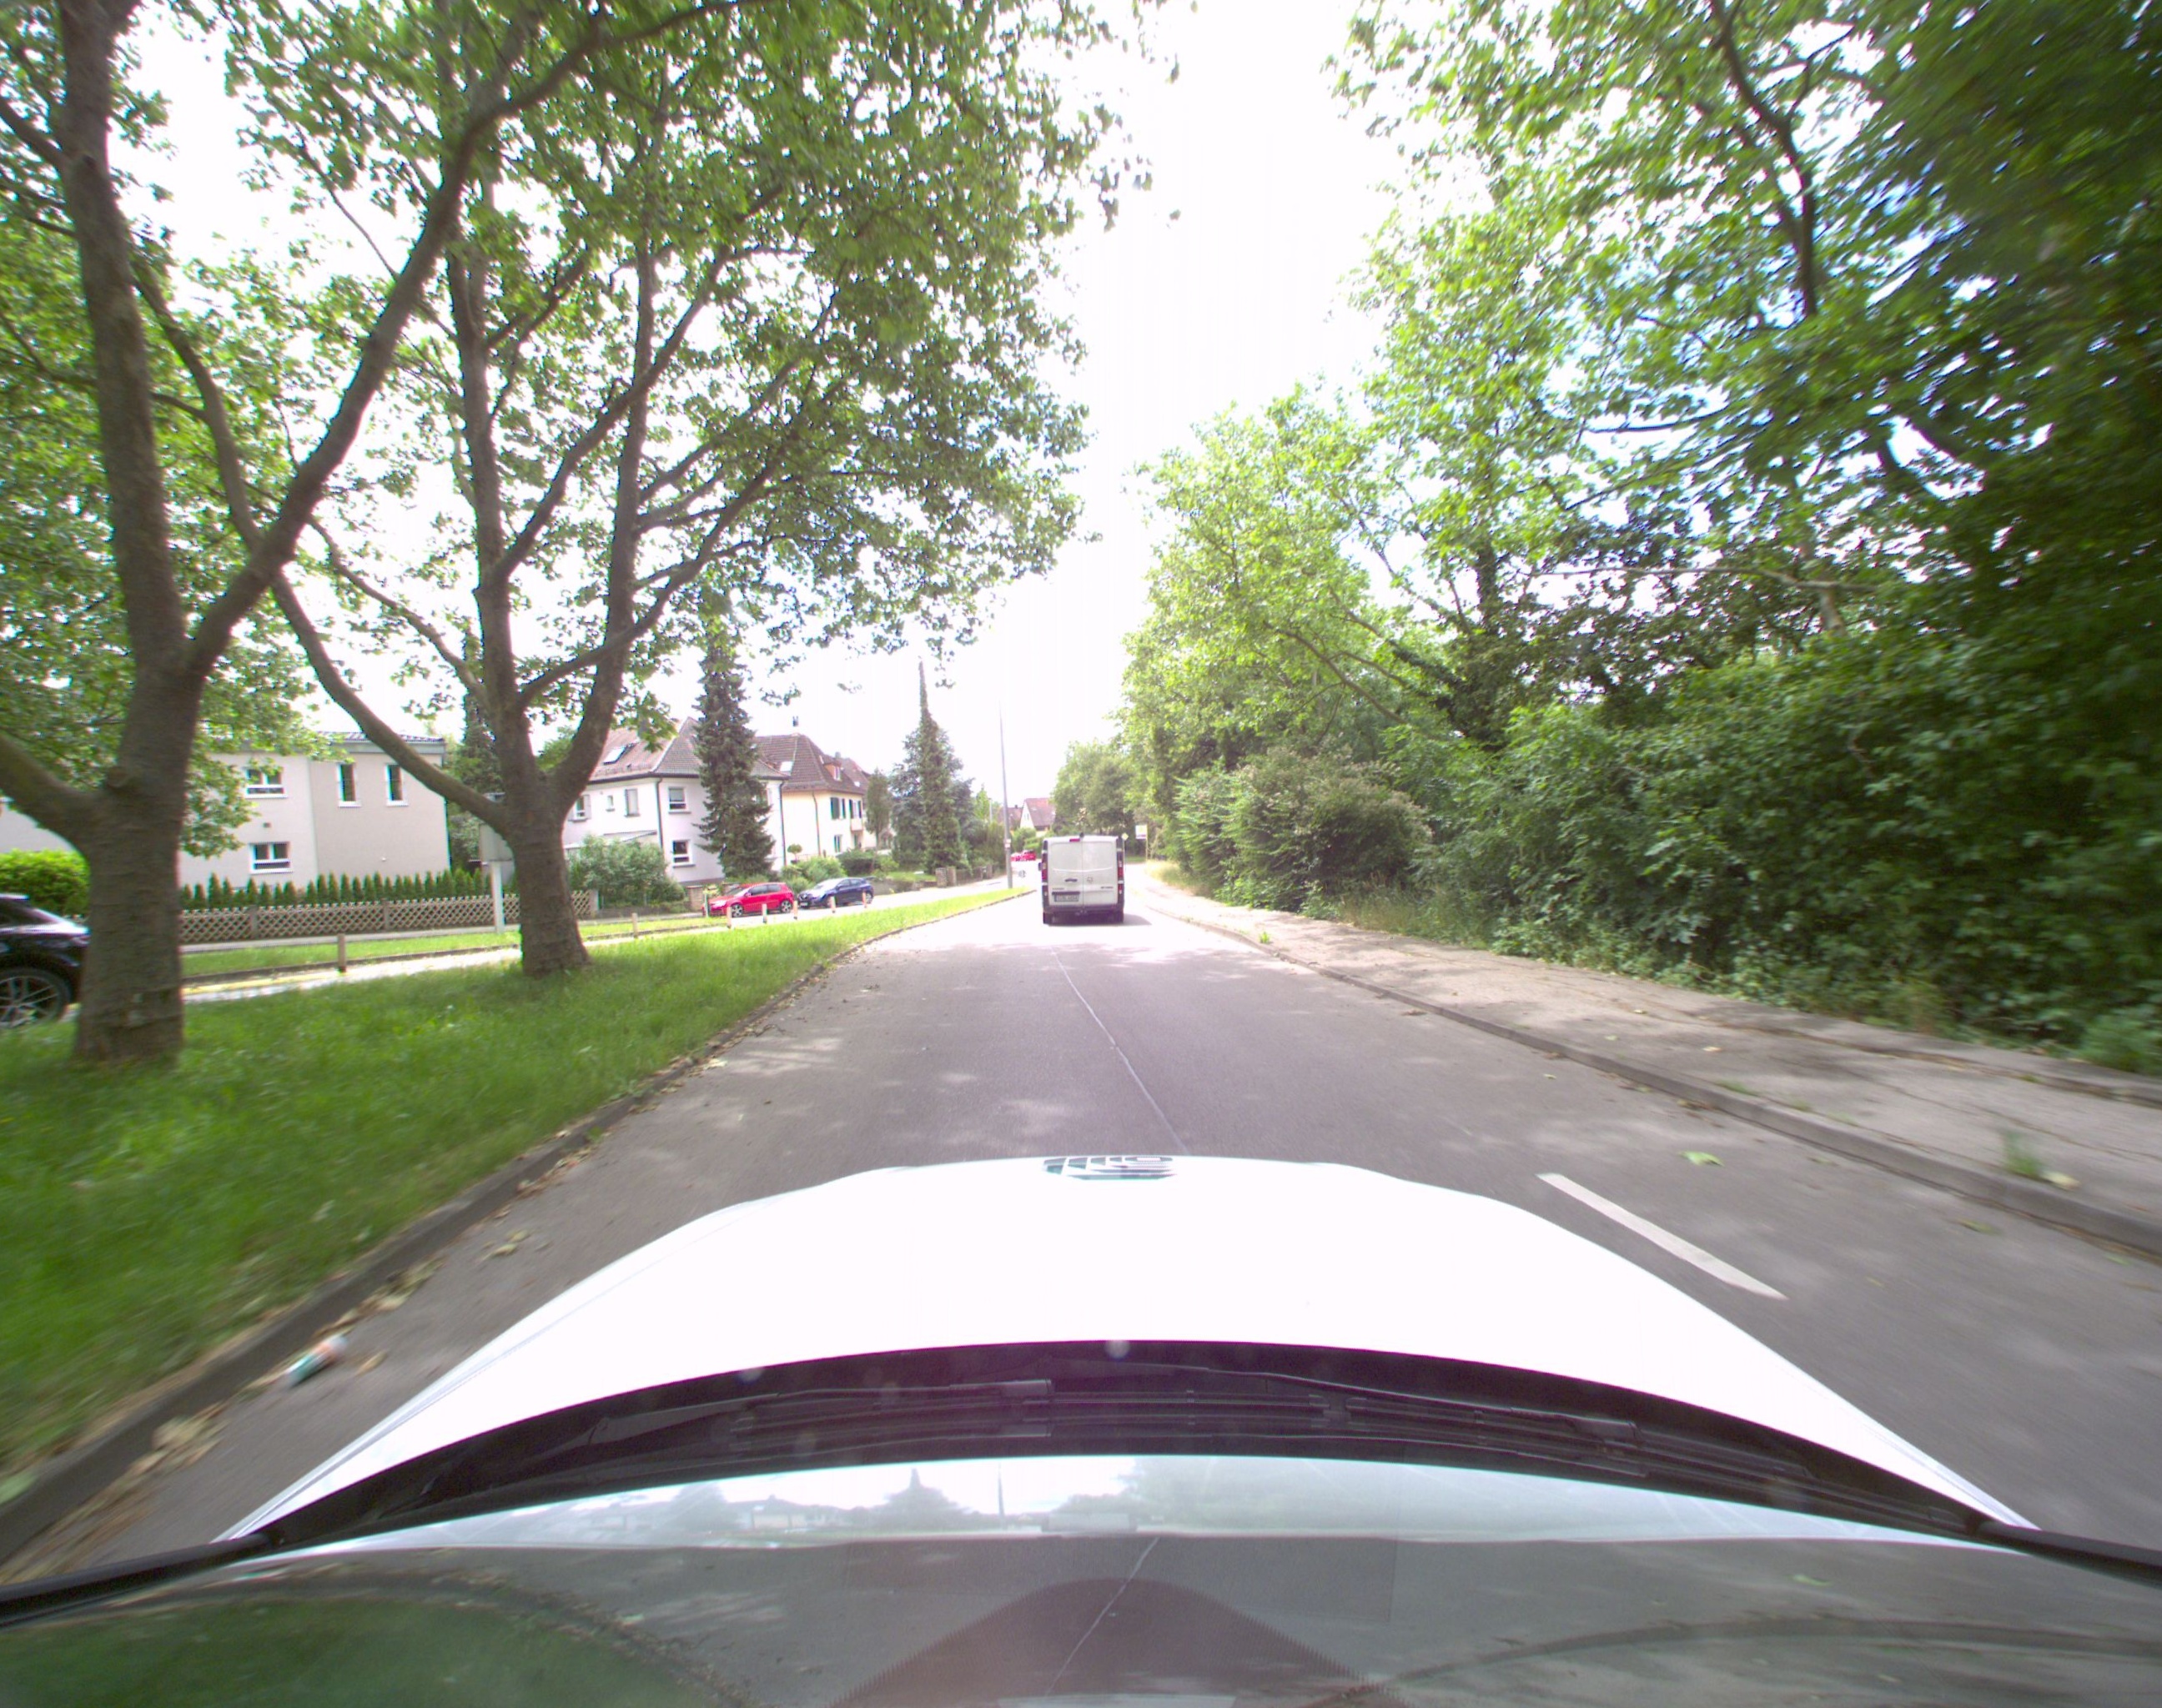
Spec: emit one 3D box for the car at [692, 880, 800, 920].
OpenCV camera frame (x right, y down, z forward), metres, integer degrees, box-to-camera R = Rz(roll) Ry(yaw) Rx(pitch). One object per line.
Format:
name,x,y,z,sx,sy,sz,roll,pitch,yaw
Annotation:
car,-15.245,2.090,37.232,1.710,1.473,4.306,-3,0,32

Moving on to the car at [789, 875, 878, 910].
car,-12.532,1.933,41.487,1.711,1.473,4.341,-3,0,27

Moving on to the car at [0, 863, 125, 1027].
car,-11.968,1.031,6.914,1.745,1.591,4.629,-2,2,11

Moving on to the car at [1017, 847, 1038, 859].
car,-8.562,-0.171,130.820,1.768,1.797,4.911,-4,1,-22

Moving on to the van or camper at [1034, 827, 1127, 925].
van or camper,-0.031,0.391,19.954,1.918,2.013,4.829,-3,2,0

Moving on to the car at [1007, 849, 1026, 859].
car,-10.749,0.020,135.465,1.722,1.467,4.231,-4,1,-26
